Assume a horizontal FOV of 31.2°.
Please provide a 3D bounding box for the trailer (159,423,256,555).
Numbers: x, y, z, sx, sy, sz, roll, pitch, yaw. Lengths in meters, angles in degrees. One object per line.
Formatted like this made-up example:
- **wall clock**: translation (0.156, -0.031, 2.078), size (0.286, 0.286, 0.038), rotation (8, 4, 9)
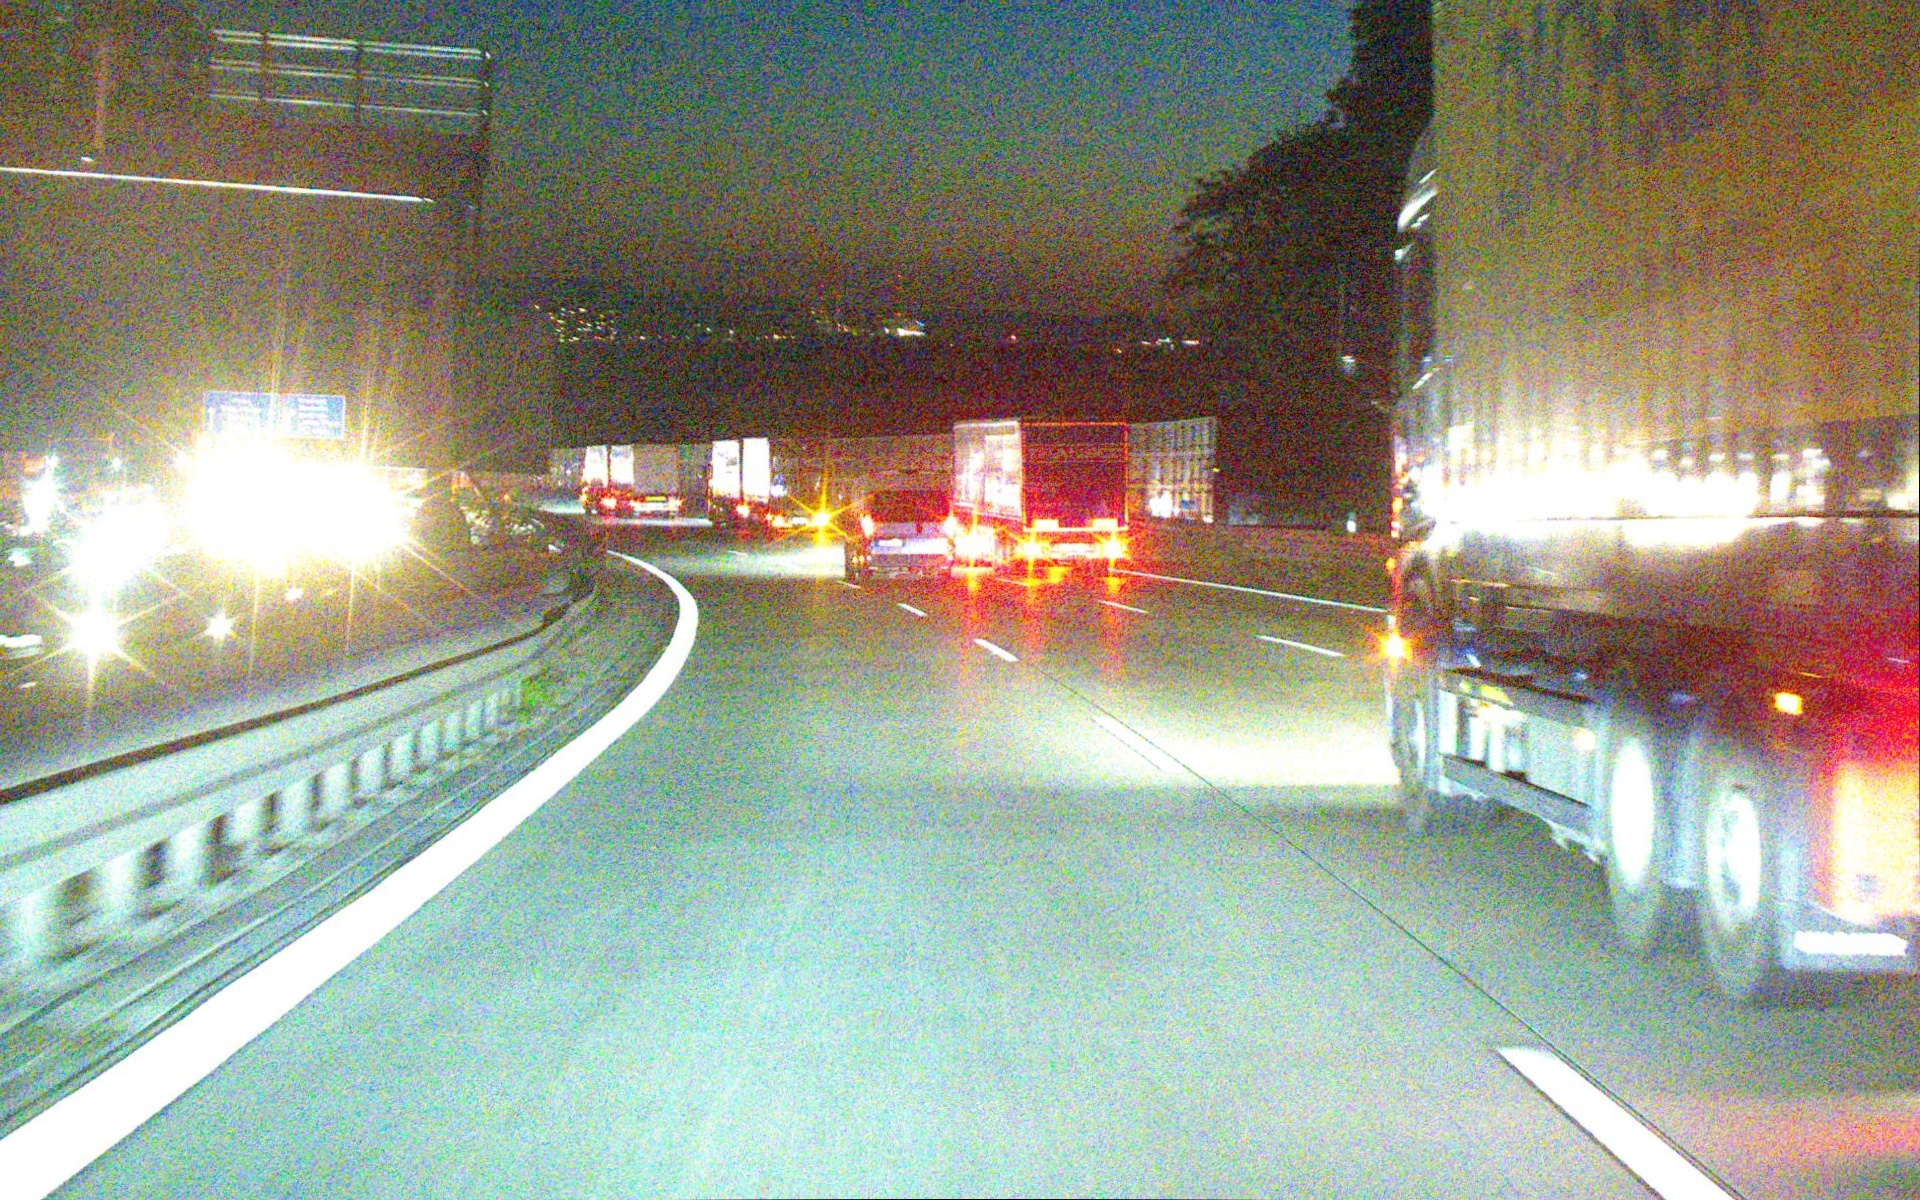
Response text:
- **trailer**: translation (-29.128, -4.324, 133.449), size (2.839, 4.447, 14.528), rotation (-9, 4, -11)

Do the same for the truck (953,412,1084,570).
- **truck**: translation (1.507, -2.955, 92.375), size (2.861, 4.062, 7.512), rotation (0, 2, -4)

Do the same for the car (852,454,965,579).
- **car**: translation (-1.183, -1.803, 76.387), size (2.337, 2.631, 5.248), rotation (1, 0, -2)

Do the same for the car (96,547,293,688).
- **car**: translation (-9.227, 0.176, 41.697), size (1.680, 1.560, 4.001), rotation (-1, 1, -3)

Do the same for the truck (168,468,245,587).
- **truck**: translation (-27.723, -2.709, 126.698), size (2.615, 4.254, 5.959), rotation (0, 2, -11)

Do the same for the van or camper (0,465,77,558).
- **van or camper**: translation (-27.063, -2.590, 98.639), size (2.582, 2.584, 7.114), rotation (0, 2, -8)

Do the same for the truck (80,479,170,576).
- **truck**: translation (-21.833, -1.935, 90.030), size (1.993, 2.449, 5.052), rotation (-1, 2, -10)

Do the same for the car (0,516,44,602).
- **car**: translation (-19.481, -0.810, 68.203), size (1.926, 1.648, 4.738), rotation (0, 1, -7)

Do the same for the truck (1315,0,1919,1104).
- **truck**: translation (3.811, -0.981, 9.157), size (3.482, 4.120, 18.711), rotation (1, 1, -1)

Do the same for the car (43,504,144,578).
- **car**: translation (-20.462, -1.425, 81.318), size (1.885, 1.671, 5.081), rotation (0, 2, -9)

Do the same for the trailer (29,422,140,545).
- **trailer**: translation (-32.070, -4.294, 126.317), size (2.839, 4.157, 13.289), rotation (-3, 2, -10)

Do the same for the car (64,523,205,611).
- **car**: translation (-14.637, -0.607, 61.090), size (1.699, 1.458, 3.482), rotation (0, 2, -1)

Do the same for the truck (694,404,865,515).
- **truck**: translation (-8.313, -6.154, 153.604), size (3.914, 4.611, 21.025), rotation (-1, 2, -13)

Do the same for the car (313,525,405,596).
- **car**: translation (-11.196, -0.759, 64.158), size (1.418, 1.252, 3.130), rotation (0, 2, -5)

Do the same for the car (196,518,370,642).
- **car**: translation (-10.003, -0.340, 51.104), size (1.807, 1.735, 4.868), rotation (-1, 1, -3)

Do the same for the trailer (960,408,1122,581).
- **trailer**: translation (1.891, -2.737, 87.087), size (2.853, 4.053, 13.208), rotation (0, 2, -4)

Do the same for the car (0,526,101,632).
- **car**: translation (-14.190, -0.344, 52.046), size (1.640, 1.534, 4.001), rotation (-1, 1, -4)

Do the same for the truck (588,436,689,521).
- **truck**: translation (-18.146, -6.855, 192.930), size (3.343, 4.460, 13.915), rotation (2, 2, -14)

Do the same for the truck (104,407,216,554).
- **truck**: translation (-23.656, -3.541, 101.858), size (2.864, 4.196, 6.108), rotation (-1, 2, -10)
